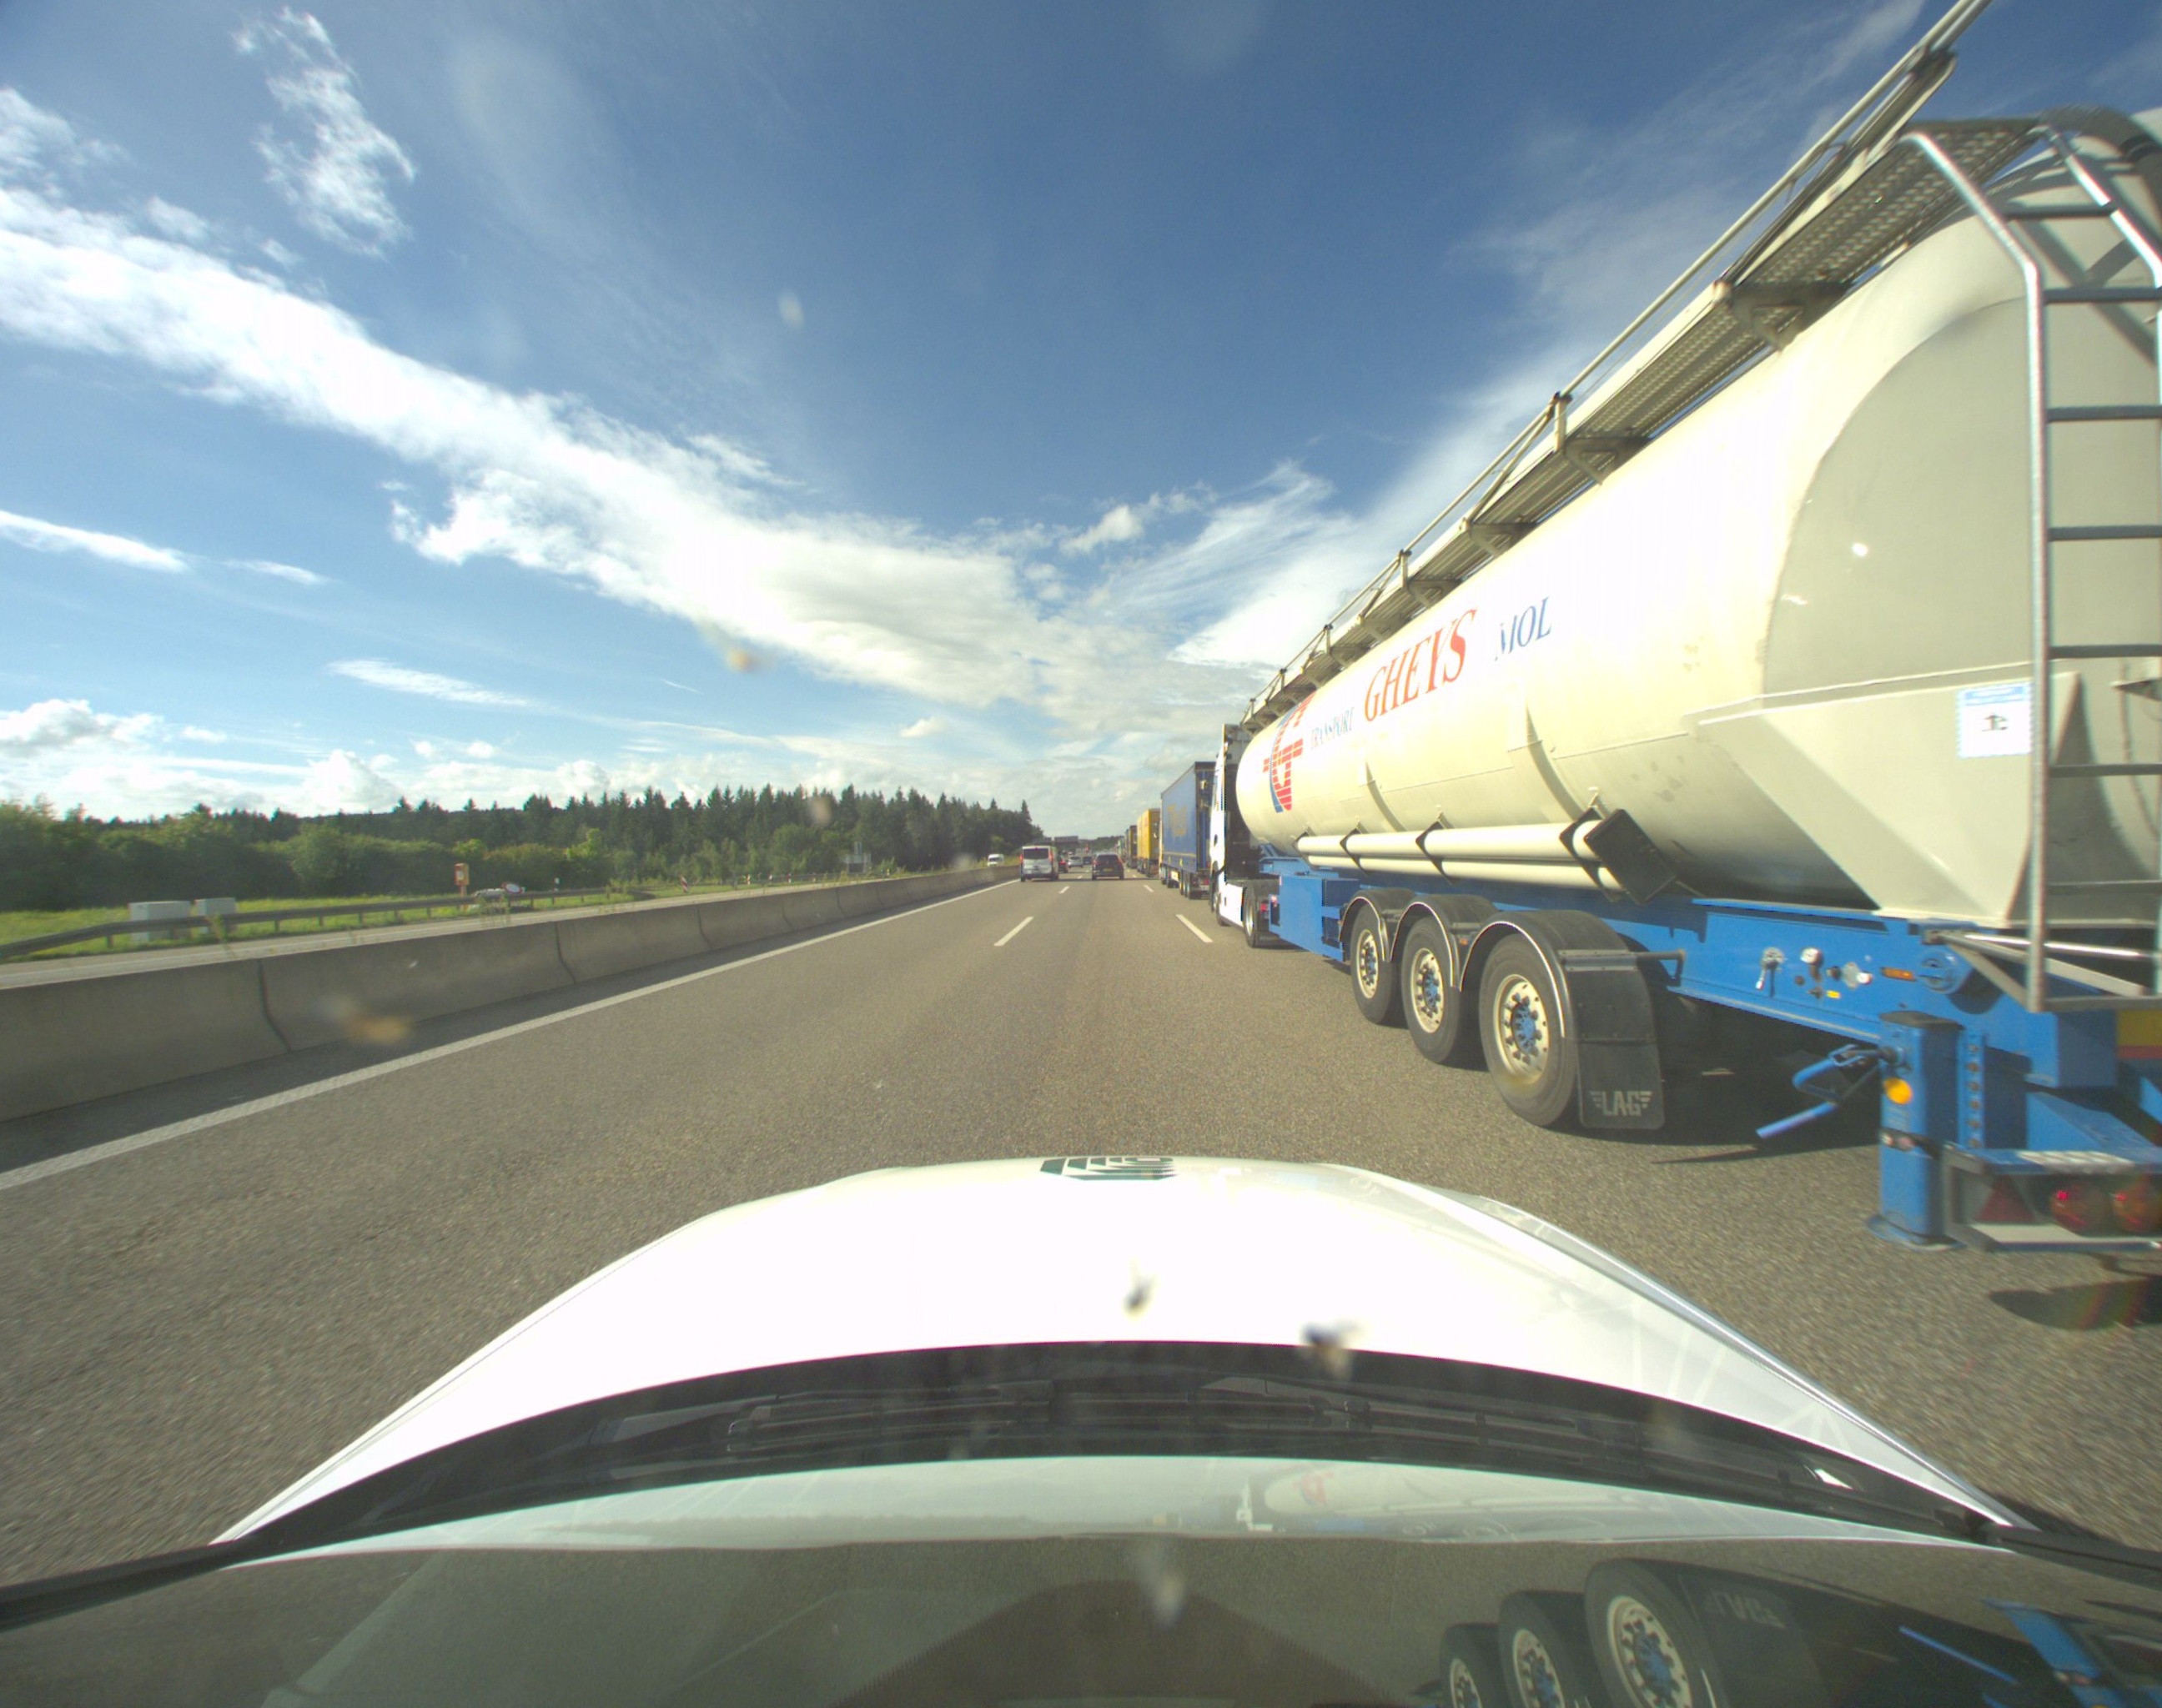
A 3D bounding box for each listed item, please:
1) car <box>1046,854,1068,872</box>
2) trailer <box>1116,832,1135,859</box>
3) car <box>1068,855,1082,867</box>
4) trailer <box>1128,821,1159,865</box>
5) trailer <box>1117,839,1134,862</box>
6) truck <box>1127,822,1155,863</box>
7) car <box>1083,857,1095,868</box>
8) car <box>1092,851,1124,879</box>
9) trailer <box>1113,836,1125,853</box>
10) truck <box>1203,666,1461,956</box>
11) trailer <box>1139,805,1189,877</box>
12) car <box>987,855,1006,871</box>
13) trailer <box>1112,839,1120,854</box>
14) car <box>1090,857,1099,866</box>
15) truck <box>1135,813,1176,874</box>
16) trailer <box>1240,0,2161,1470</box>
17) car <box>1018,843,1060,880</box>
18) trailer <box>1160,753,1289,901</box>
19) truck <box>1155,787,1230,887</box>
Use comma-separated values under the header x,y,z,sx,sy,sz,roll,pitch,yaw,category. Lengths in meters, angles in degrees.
x,y,z,sx,sy,sz,roll,pitch,yaw,category
-1.902,0.710,65.867,1.494,1.396,3.477,-1,0,2,car
7.179,-1.267,131.854,2.651,3.868,13.401,-3,0,2,trailer
-0.657,0.812,94.405,1.494,1.396,3.477,-1,0,2,car
5.875,-1.038,77.473,2.704,3.960,8.719,-1,0,3,trailer
8.482,-0.592,157.244,2.692,4.081,12.951,-4,0,2,trailer
6.358,-1.132,86.955,2.729,4.038,10.210,-1,0,3,truck
1.069,1.172,114.065,1.575,1.396,3.209,-1,0,2,car
1.538,0.619,46.100,1.690,1.483,4.161,-1,0,2,car
10.256,-2.508,220.221,2.791,4.244,11.064,-4,0,3,trailer
3.924,-0.568,14.539,2.639,3.925,6.945,-1,0,2,truck
5.037,-0.731,50.799,2.403,4.068,8.930,-1,0,2,trailer
-13.673,1.404,132.458,2.026,2.578,7.324,-1,0,2,car
10.929,-2.346,255.957,2.141,4.259,8.445,-3,0,3,trailer
2.287,1.203,136.069,1.355,1.396,3.086,-1,0,2,car
5.350,-0.728,60.136,2.403,4.068,9.668,-1,0,2,truck
3.680,-0.600,7.382,2.636,3.934,11.179,-1,0,2,trailer
-2.363,0.434,46.723,1.925,1.979,5.101,-1,0,2,car
4.656,-0.723,29.593,2.632,4.098,13.986,-1,0,2,trailer
4.890,-0.678,36.765,2.638,4.089,6.494,-1,0,2,truck
